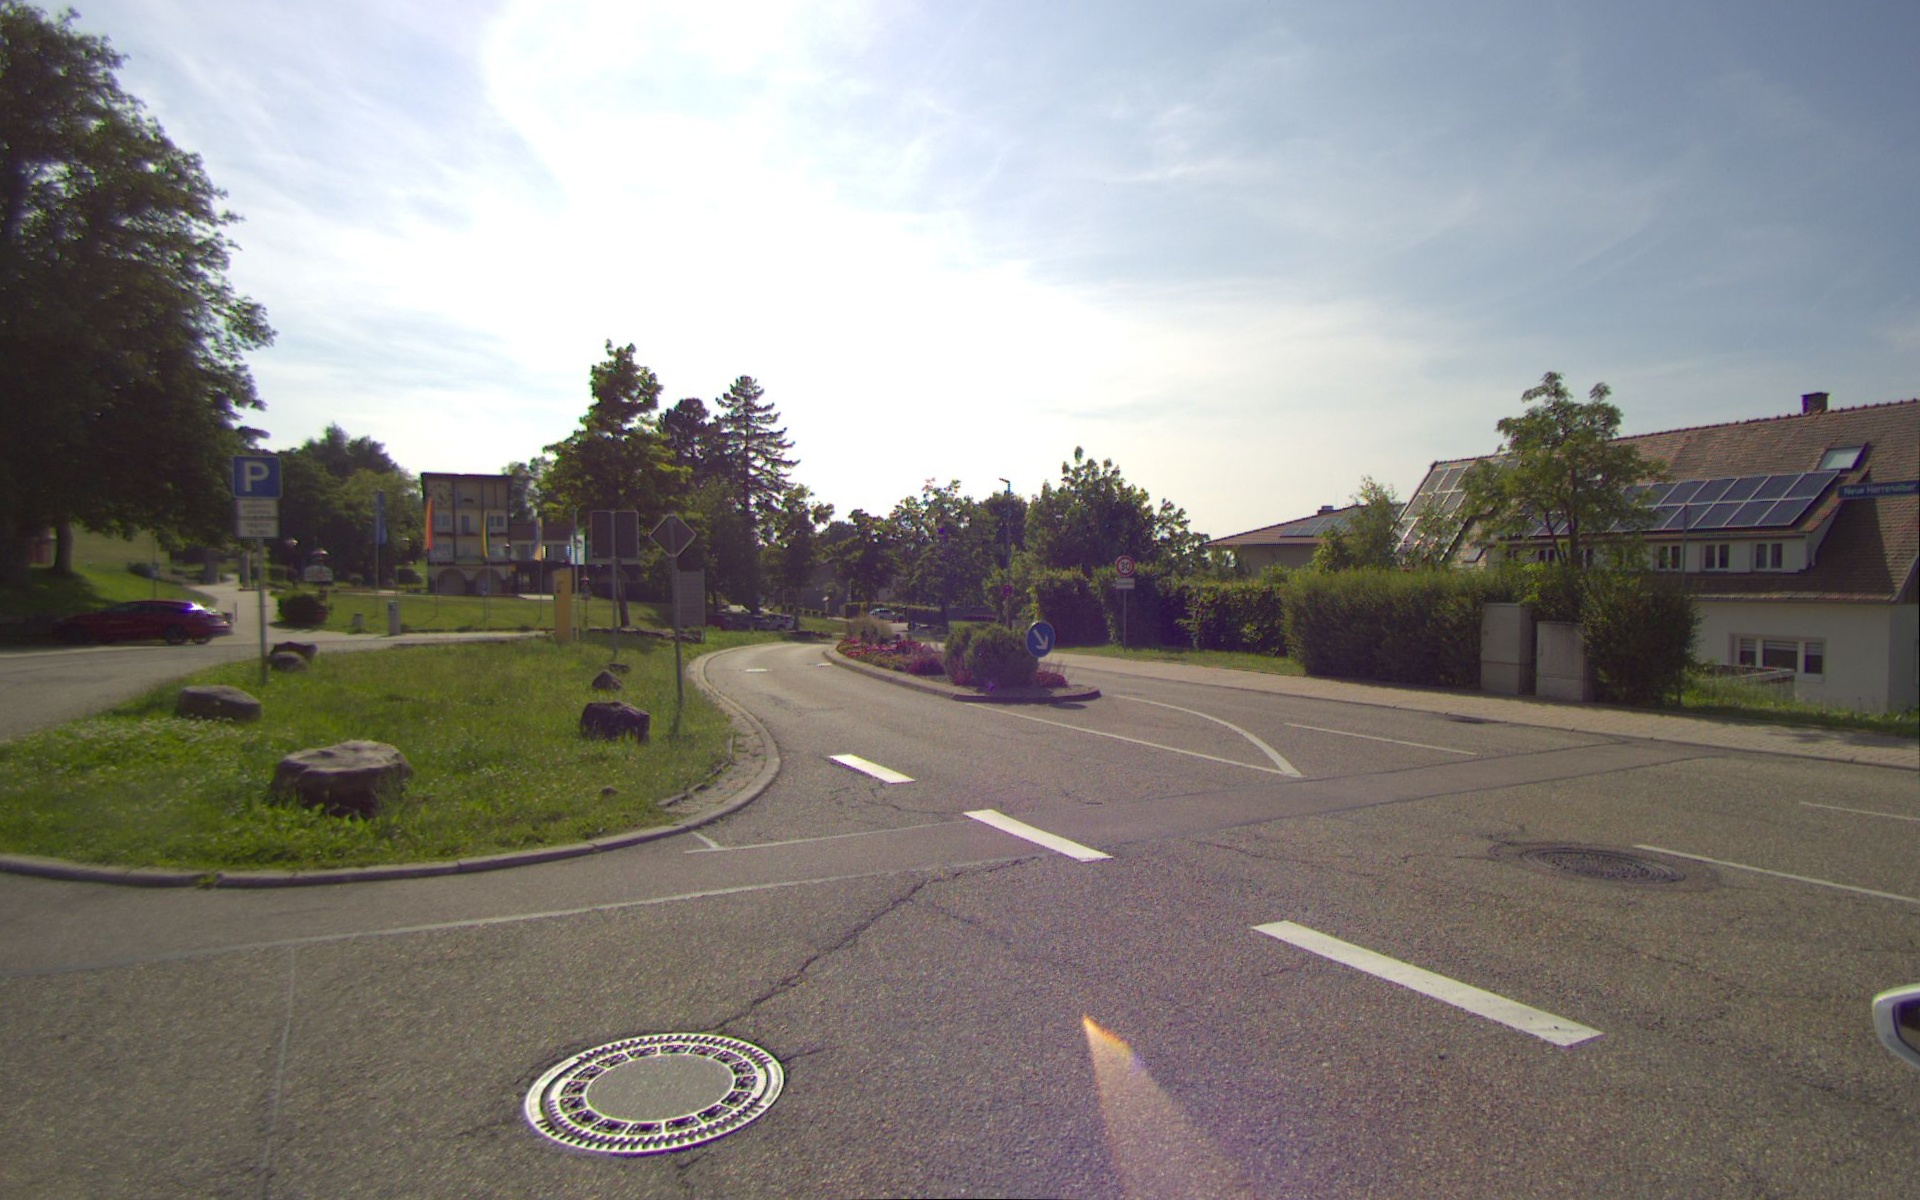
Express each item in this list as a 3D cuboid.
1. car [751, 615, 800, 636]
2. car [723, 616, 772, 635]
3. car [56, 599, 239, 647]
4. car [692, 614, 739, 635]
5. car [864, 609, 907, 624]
[{"bbox_3d":[-16.113,2.187,87.583,3.867,1.630,1.775,2,-1,25],"label":"car"},{"bbox_3d":[-17.720,2.136,83.847,3.644,1.452,1.775,2,-1,26],"label":"car"},{"bbox_3d":[-26.175,0.741,32.499,4.165,1.417,1.819,2,-1,-13],"label":"car"},{"bbox_3d":[-19.721,1.989,81.005,3.147,1.489,1.775,2,-1,24],"label":"car"},{"bbox_3d":[-8.837,1.961,119.626,4.677,1.555,1.982,0,4,-32],"label":"car"}]
